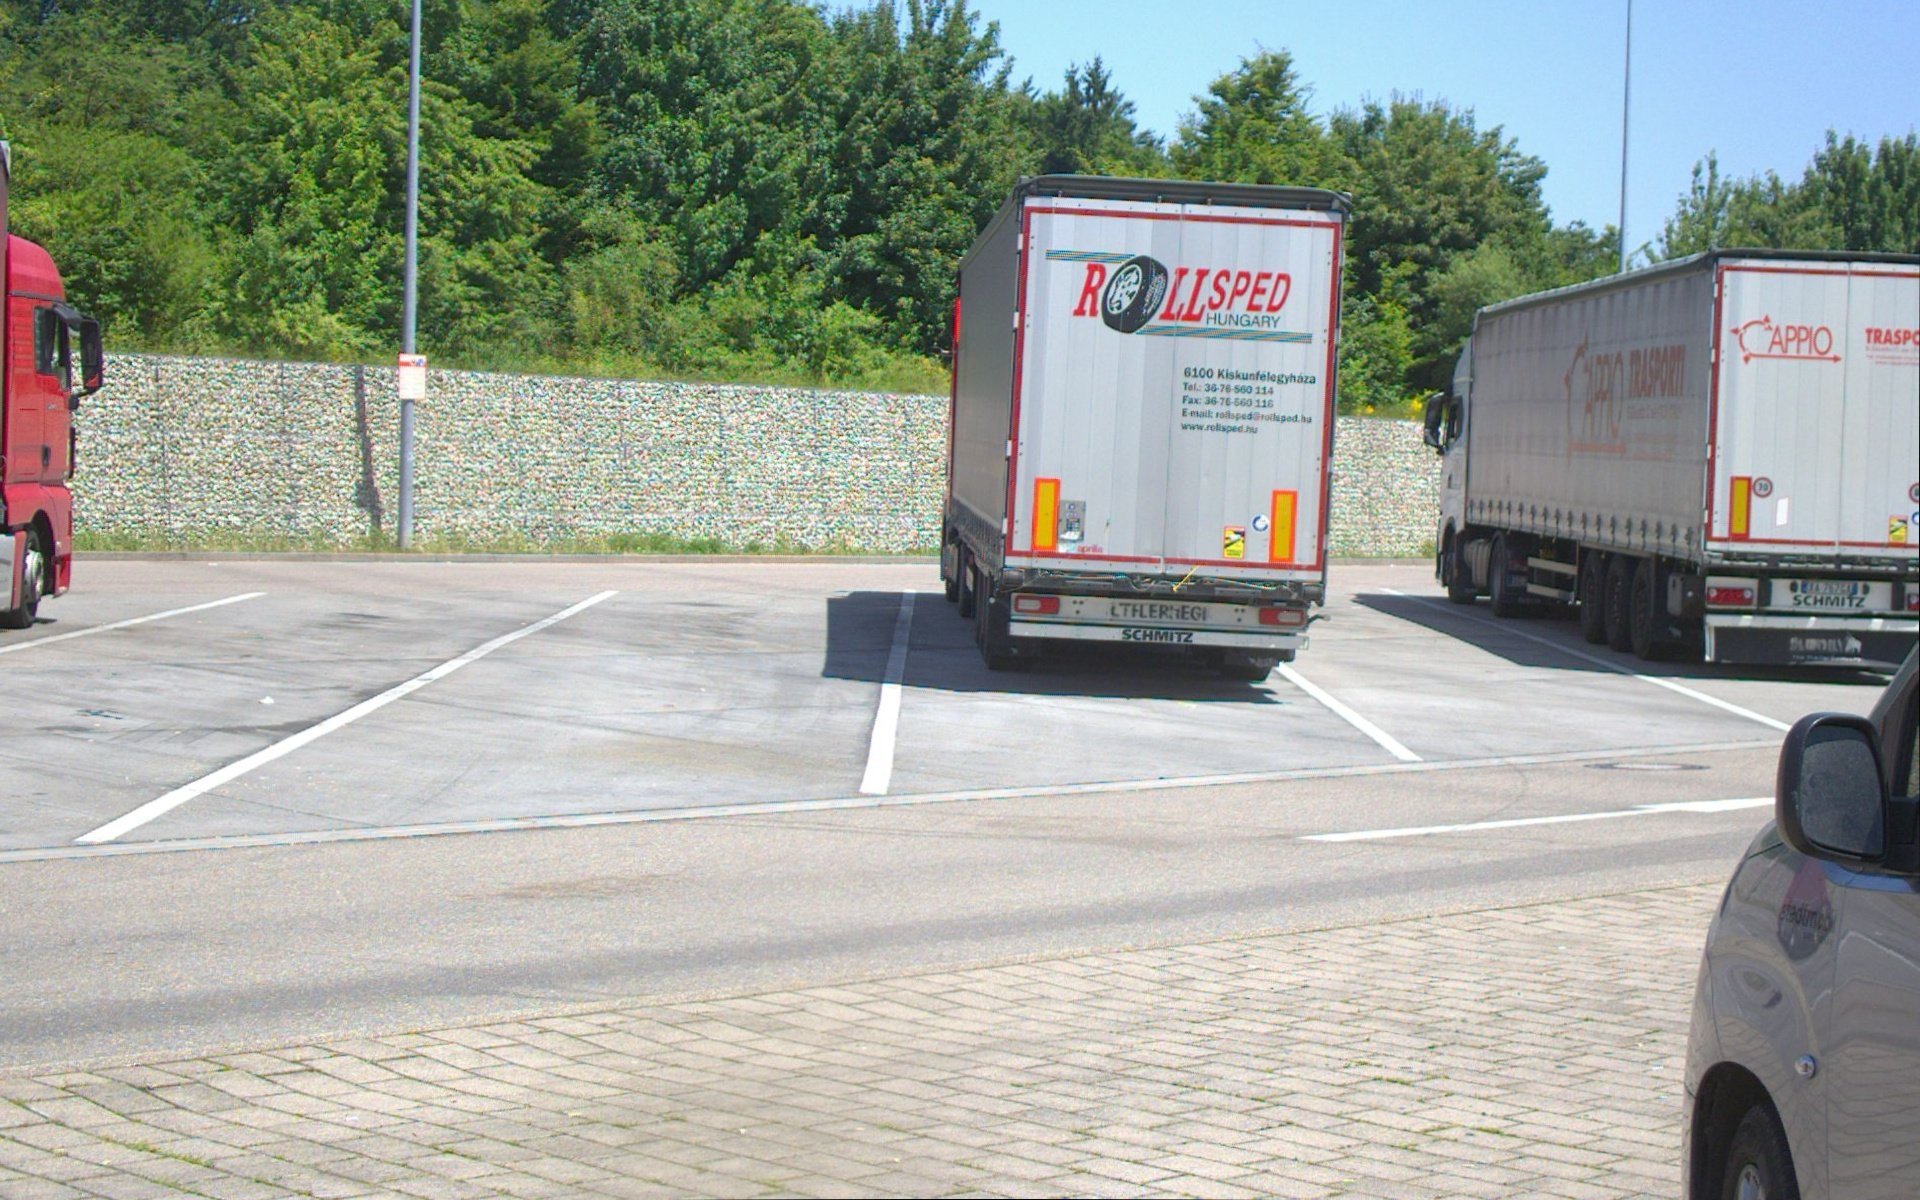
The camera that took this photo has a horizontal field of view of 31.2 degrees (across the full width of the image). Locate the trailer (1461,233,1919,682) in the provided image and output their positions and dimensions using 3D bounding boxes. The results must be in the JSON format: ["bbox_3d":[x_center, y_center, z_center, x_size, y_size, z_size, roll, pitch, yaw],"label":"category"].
[{"bbox_3d":[8.142,-1.537,38.475,2.876,4.110,13.572,1,2,-1],"label":"trailer"}]

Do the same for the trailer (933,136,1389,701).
[{"bbox_3d":[1.479,-1.697,32.638,3.069,4.213,12.810,2,3,-2],"label":"trailer"}]

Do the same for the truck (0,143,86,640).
[{"bbox_3d":[-9.230,-1.702,27.656,2.743,4.067,6.830,1,2,-1],"label":"truck"}]

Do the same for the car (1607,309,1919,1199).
[{"bbox_3d":[2.136,0.540,3.794,1.825,1.747,4.001,1,2,-4],"label":"car"}]

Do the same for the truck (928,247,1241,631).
[{"bbox_3d":[1.265,-1.855,39.406,3.026,3.915,6.847,2,3,-2],"label":"truck"}]

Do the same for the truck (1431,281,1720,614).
[{"bbox_3d":[8.028,-1.989,45.470,2.757,4.110,5.285,1,2,-1],"label":"truck"}]

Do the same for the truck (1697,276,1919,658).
[{"bbox_3d":[11.731,-1.474,39.806,2.904,4.110,14.528,3,2,-1],"label":"truck"}]
